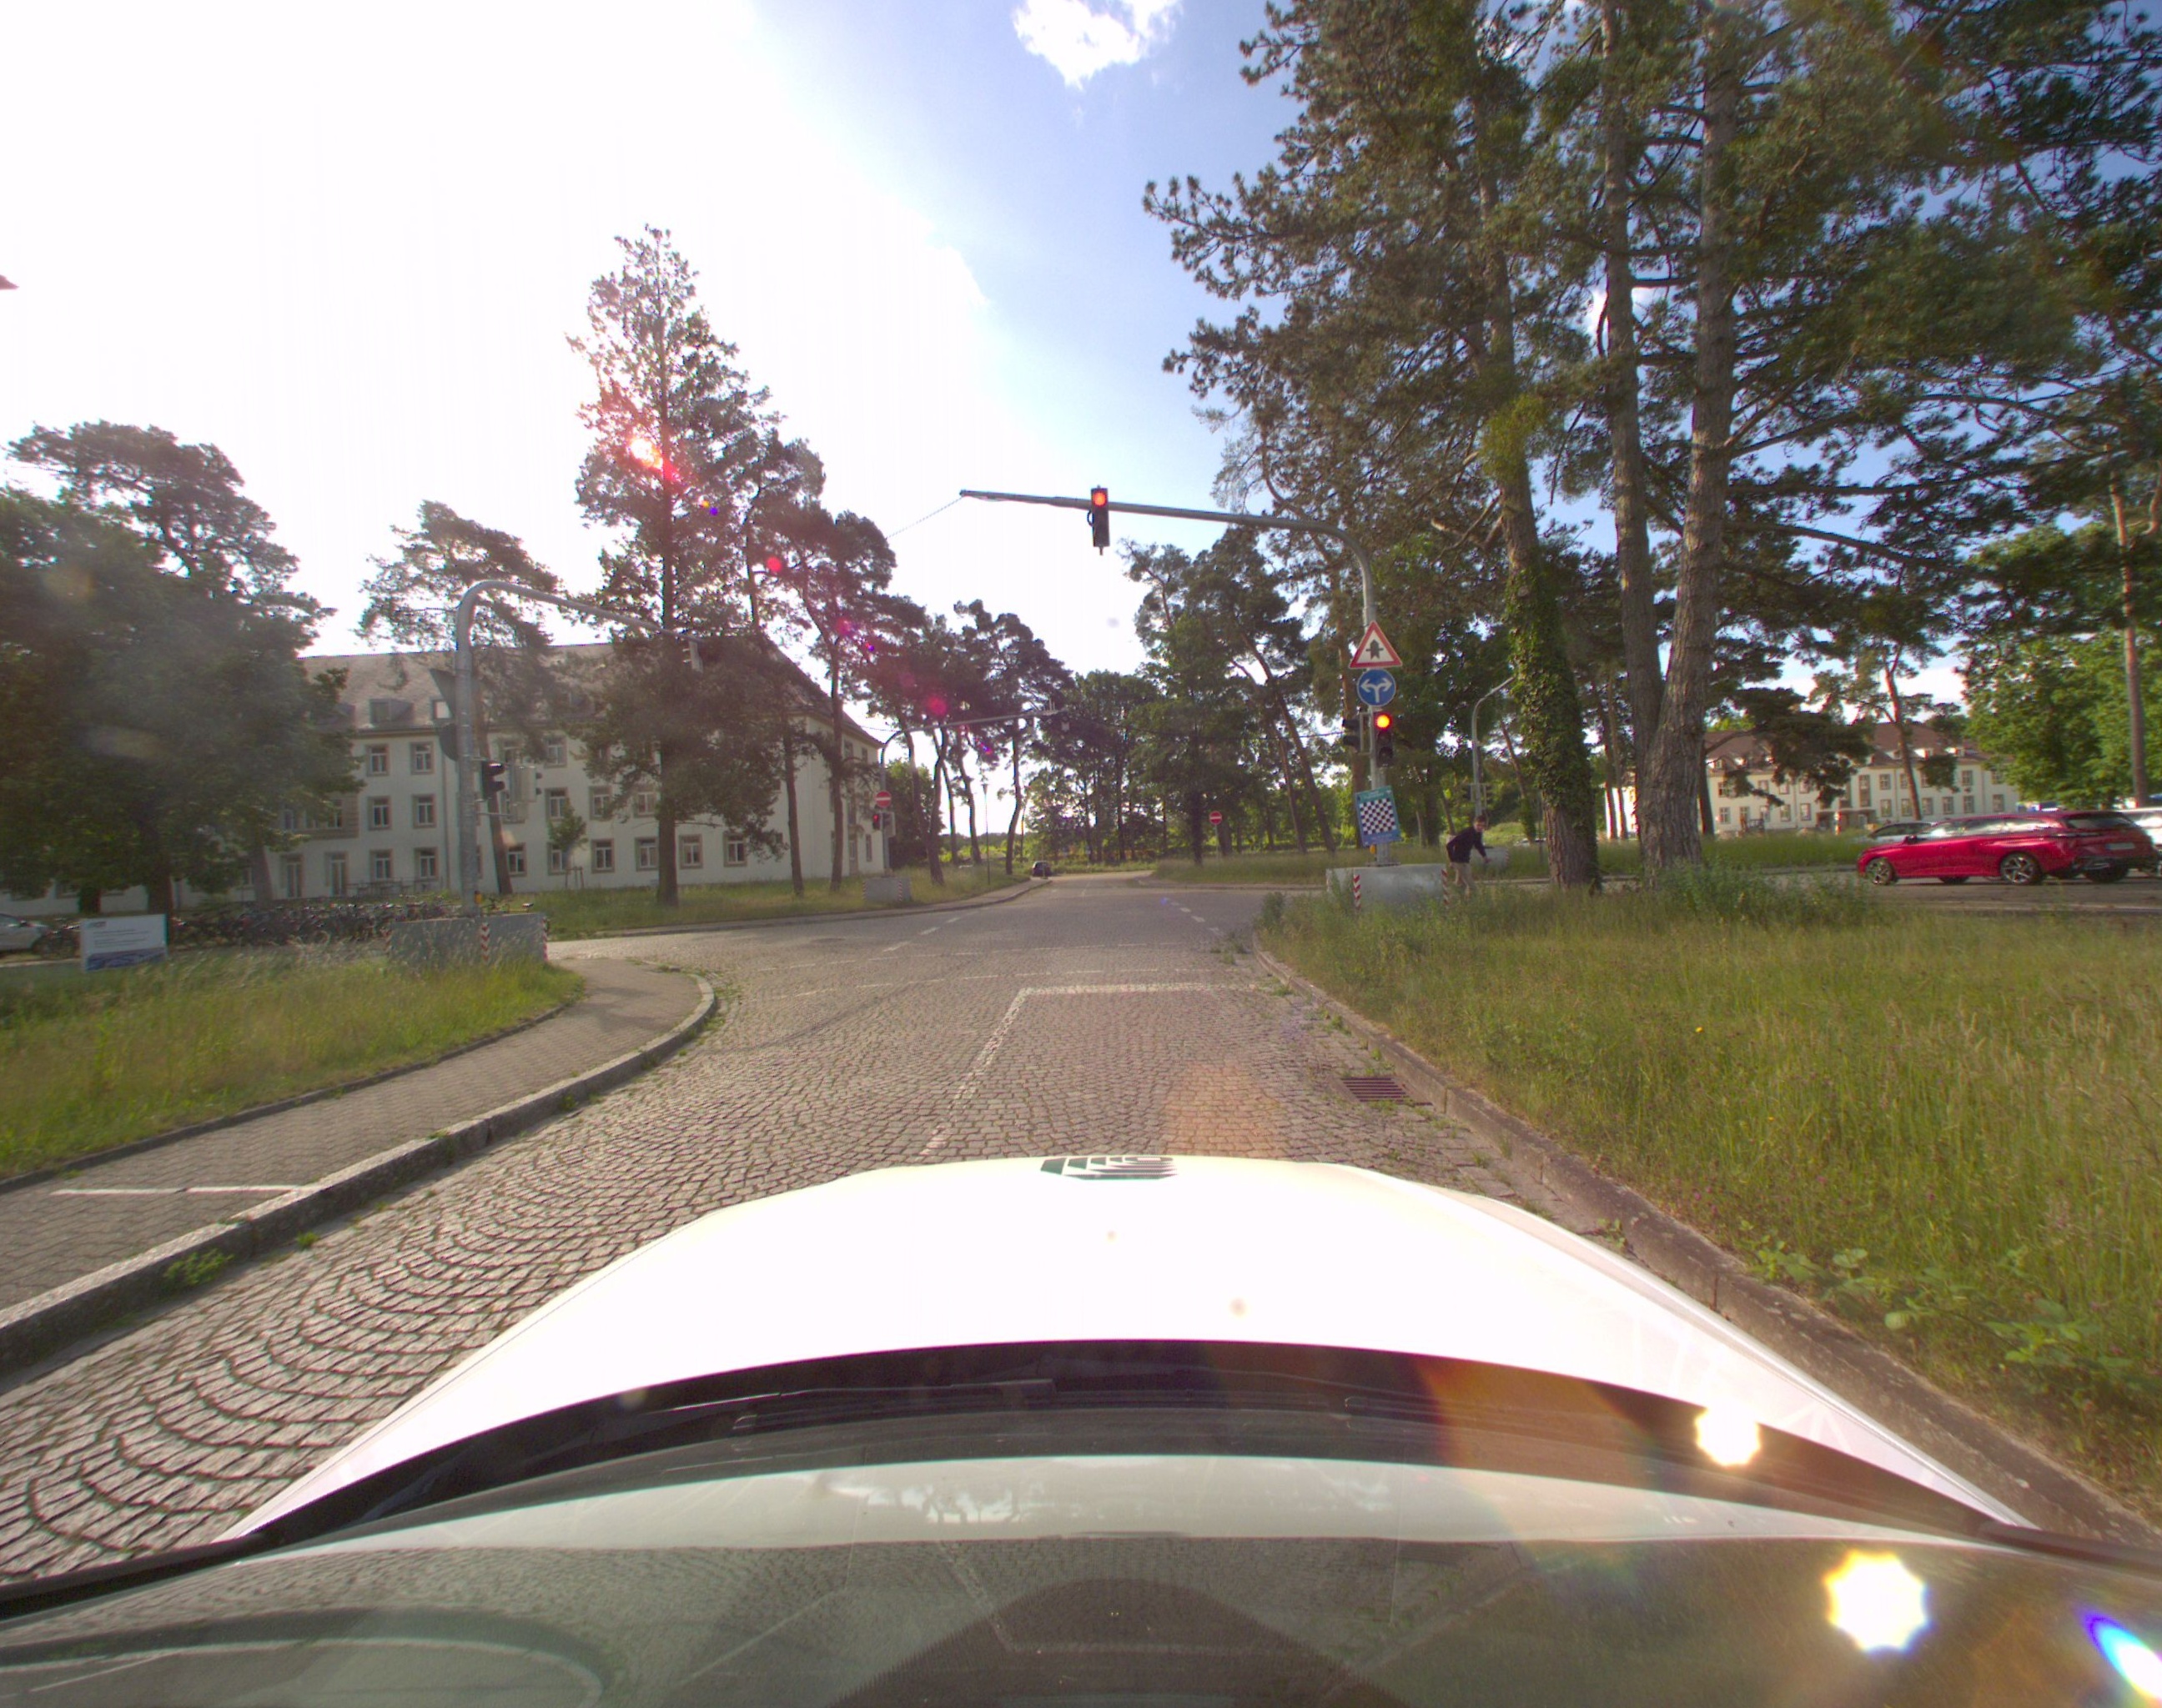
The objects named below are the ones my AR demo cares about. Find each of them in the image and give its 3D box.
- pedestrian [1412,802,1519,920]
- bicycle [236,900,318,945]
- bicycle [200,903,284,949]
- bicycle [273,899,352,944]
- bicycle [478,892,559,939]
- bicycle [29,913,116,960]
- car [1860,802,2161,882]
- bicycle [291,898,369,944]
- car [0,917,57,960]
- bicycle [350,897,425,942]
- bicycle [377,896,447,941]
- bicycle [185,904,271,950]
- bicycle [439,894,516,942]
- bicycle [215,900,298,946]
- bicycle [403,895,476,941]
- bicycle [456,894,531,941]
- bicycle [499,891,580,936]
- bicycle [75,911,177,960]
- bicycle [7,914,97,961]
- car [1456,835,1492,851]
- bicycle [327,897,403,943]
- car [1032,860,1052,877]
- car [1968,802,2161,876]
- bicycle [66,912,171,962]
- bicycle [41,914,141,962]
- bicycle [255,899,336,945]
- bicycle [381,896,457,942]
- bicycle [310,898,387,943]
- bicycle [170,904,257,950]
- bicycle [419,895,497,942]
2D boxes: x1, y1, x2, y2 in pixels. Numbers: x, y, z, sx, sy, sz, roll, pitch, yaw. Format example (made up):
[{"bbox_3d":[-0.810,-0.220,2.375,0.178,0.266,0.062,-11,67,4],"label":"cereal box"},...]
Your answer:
[{"bbox_3d":[6.199,0.105,13.132,1.178,1.796,1.050,-3,0,-38],"label":"pedestrian"},{"bbox_3d":[-24.676,2.076,25.040,0.512,1.220,1.937,-3,0,1],"label":"bicycle"},{"bbox_3d":[-25.745,2.198,25.035,0.512,1.220,1.937,-3,0,1],"label":"bicycle"},{"bbox_3d":[-23.538,2.042,24.994,0.512,1.220,1.937,-3,0,1],"label":"bicycle"},{"bbox_3d":[-16.288,1.787,23.618,1.855,1.220,0.635,-3,0,1],"label":"bicycle"},{"bbox_3d":[-30.427,2.473,24.611,0.514,1.220,1.823,-3,0,-9],"label":"bicycle"},{"bbox_3d":[18.825,-0.169,16.757,1.649,1.399,4.130,-2,-1,1],"label":"car"},{"bbox_3d":[-22.983,2.026,24.981,0.512,1.220,1.954,-3,0,1],"label":"bicycle"},{"bbox_3d":[-34.058,2.683,24.619,1.504,1.211,3.596,-3,0,3],"label":"car"},{"bbox_3d":[-21.291,1.984,25.060,0.512,1.220,2.016,-3,0,1],"label":"bicycle"},{"bbox_3d":[-20.773,1.969,25.333,0.546,1.220,1.900,-3,0,1],"label":"bicycle"},{"bbox_3d":[-26.174,2.211,25.036,0.512,1.220,1.937,-3,0,1],"label":"bicycle"},{"bbox_3d":[-18.012,1.885,24.376,0.631,1.220,2.124,-3,0,1],"label":"bicycle"},{"bbox_3d":[-25.286,2.093,25.030,0.512,1.220,1.937,-3,0,1],"label":"bicycle"},{"bbox_3d":[-19.464,1.929,24.775,0.570,1.220,1.990,-3,0,1],"label":"bicycle"},{"bbox_3d":[-17.529,1.870,24.383,0.631,1.220,2.114,-3,0,1],"label":"bicycle"},{"bbox_3d":[-16.171,1.765,24.332,1.938,1.220,0.635,-3,0,1],"label":"bicycle"},{"bbox_3d":[-27.981,2.369,23.897,1.837,1.220,0.510,-3,0,-35],"label":"bicycle"},{"bbox_3d":[-31.033,2.491,24.597,0.513,1.220,1.824,-3,0,-7],"label":"bicycle"},{"bbox_3d":[41.536,-1.172,86.148,1.820,1.582,4.163,-3,0,1],"label":"car"},{"bbox_3d":[-21.939,2.002,25.016,0.512,1.220,1.977,-3,0,1],"label":"bicycle"},{"bbox_3d":[-3.838,1.418,80.839,1.705,1.496,3.917,-3,0,-1],"label":"car"},{"bbox_3d":[21.641,-0.300,16.885,1.773,1.379,4.239,-3,-2,0],"label":"car"},{"bbox_3d":[-27.592,2.362,23.387,1.837,1.220,0.510,-3,0,-35],"label":"bicycle"},{"bbox_3d":[-29.091,2.442,23.958,0.509,1.220,1.841,-3,0,38],"label":"bicycle"},{"bbox_3d":[-24.083,2.058,25.019,0.512,1.220,1.937,-3,0,1],"label":"bicycle"},{"bbox_3d":[-20.209,1.953,24.908,0.576,1.220,2.029,-3,0,1],"label":"bicycle"},{"bbox_3d":[-22.457,2.014,25.012,0.512,1.220,1.977,-3,0,1],"label":"bicycle"},{"bbox_3d":[-26.622,2.224,25.045,0.512,1.220,1.937,-3,0,1],"label":"bicycle"},{"bbox_3d":[-18.616,1.903,24.386,0.631,1.220,2.105,-3,0,1],"label":"bicycle"}]
